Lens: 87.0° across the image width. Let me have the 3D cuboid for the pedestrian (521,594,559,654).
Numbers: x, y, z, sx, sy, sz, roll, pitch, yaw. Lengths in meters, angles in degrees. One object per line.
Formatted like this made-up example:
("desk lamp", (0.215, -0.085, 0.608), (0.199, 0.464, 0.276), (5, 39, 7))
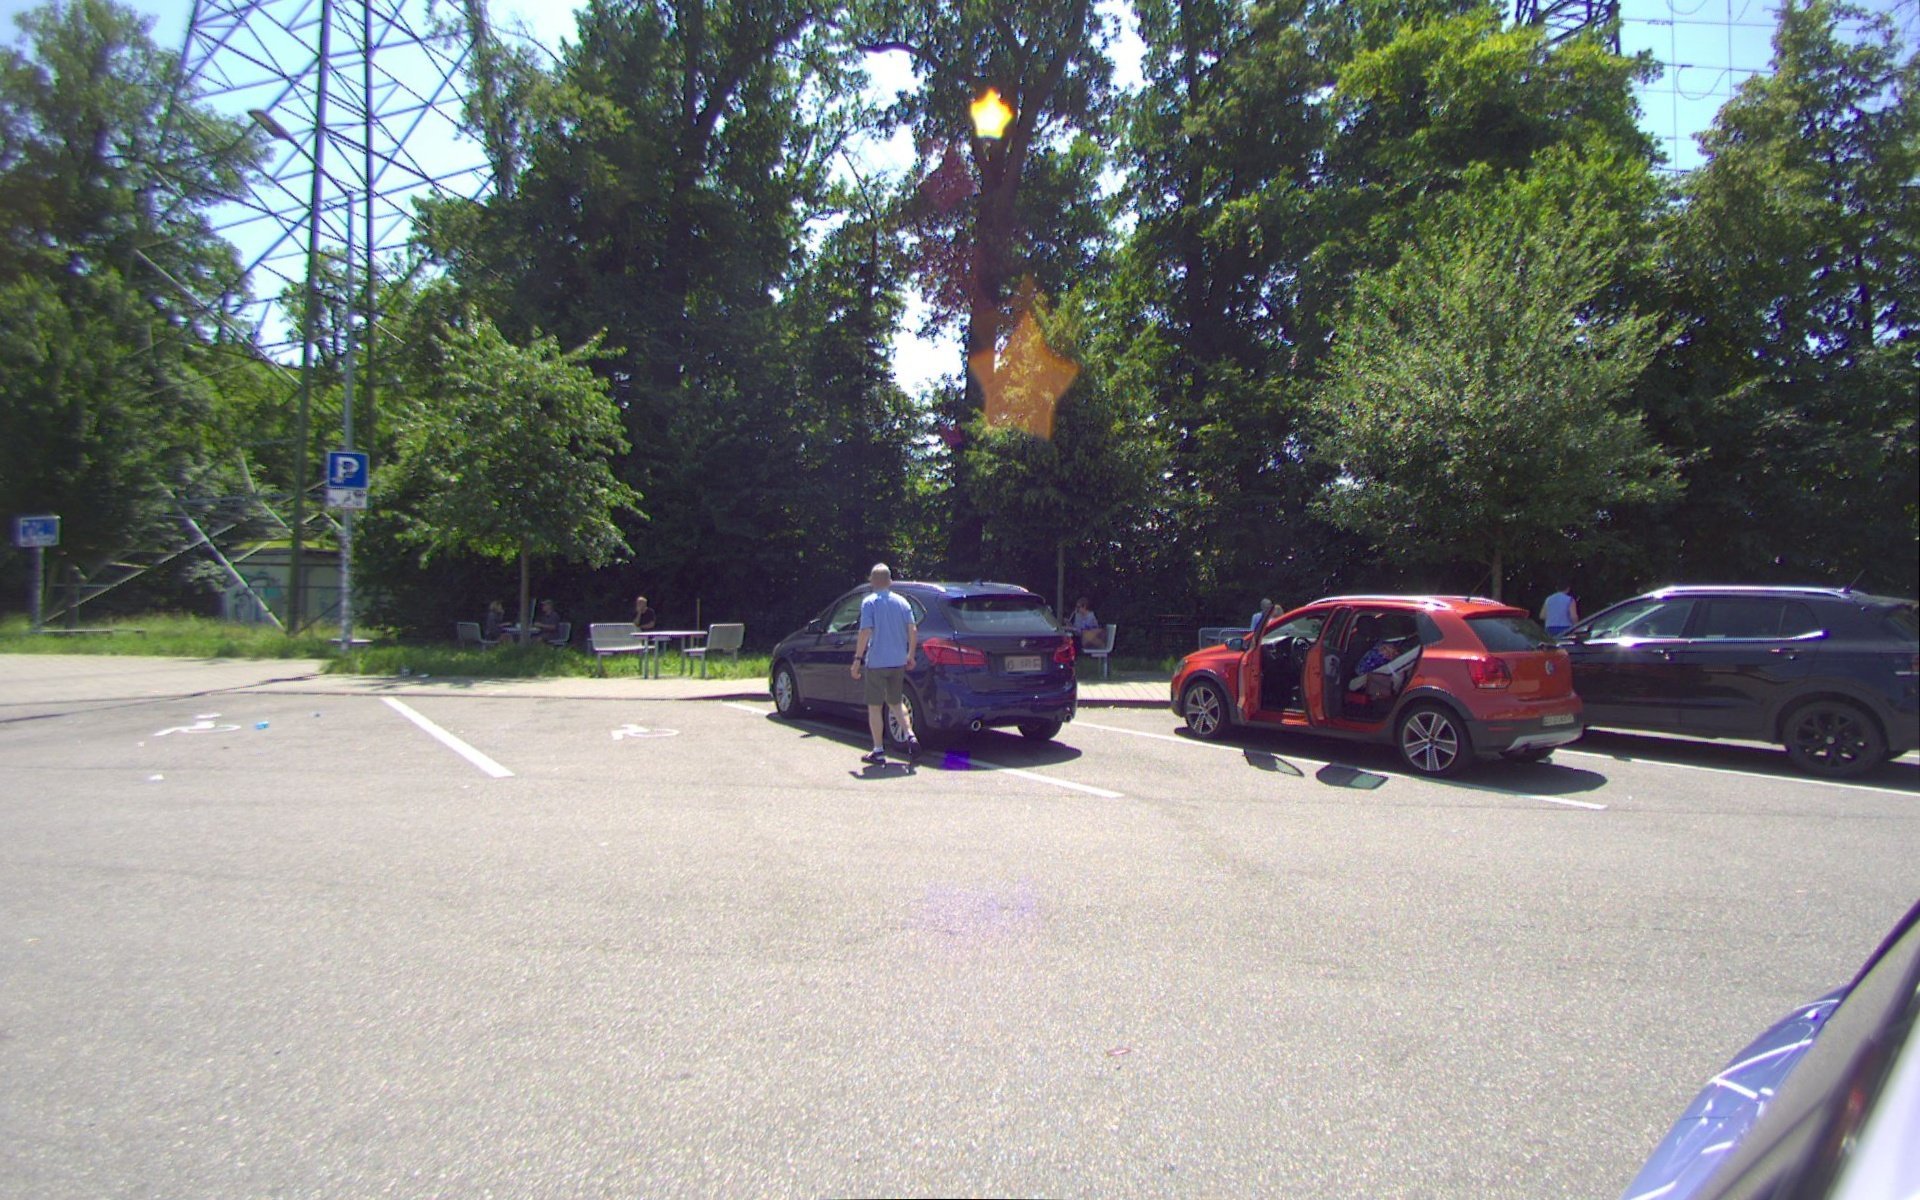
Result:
("pedestrian", (-9.740, 0.538, 23.479), (0.687, 1.352, 0.563), (0, 0, -40))

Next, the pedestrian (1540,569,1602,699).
("pedestrian", (8.955, 0.479, 14.854), (0.512, 1.854, 0.764), (0, 0, 8))

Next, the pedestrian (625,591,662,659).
("pedestrian", (-6.668, 0.515, 21.318), (0.553, 1.408, 0.700), (0, 0, 2))

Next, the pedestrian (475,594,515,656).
("pedestrian", (-10.497, 0.548, 22.841), (0.687, 1.352, 0.563), (0, 0, -40))

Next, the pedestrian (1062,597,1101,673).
("pedestrian", (2.037, 0.576, 17.016), (0.576, 1.251, 0.697), (0, -1, 1))

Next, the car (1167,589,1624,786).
("car", (3.875, 0.641, 9.594), (1.559, 1.467, 3.737), (1, 0, -33))

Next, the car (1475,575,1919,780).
("car", (7.241, 0.592, 9.709), (1.707, 1.607, 3.732), (1, 0, -39))

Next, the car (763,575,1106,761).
("car", (-0.462, 0.553, 10.667), (1.776, 1.562, 3.940), (1, 0, -34))

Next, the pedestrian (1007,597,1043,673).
("pedestrian", (1.089, 0.580, 17.082), (0.576, 1.251, 0.697), (0, -1, 1))

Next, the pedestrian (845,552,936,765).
("pedestrian", (-0.619, 0.478, 8.811), (0.662, 1.754, 0.835), (0, 0, -12))
